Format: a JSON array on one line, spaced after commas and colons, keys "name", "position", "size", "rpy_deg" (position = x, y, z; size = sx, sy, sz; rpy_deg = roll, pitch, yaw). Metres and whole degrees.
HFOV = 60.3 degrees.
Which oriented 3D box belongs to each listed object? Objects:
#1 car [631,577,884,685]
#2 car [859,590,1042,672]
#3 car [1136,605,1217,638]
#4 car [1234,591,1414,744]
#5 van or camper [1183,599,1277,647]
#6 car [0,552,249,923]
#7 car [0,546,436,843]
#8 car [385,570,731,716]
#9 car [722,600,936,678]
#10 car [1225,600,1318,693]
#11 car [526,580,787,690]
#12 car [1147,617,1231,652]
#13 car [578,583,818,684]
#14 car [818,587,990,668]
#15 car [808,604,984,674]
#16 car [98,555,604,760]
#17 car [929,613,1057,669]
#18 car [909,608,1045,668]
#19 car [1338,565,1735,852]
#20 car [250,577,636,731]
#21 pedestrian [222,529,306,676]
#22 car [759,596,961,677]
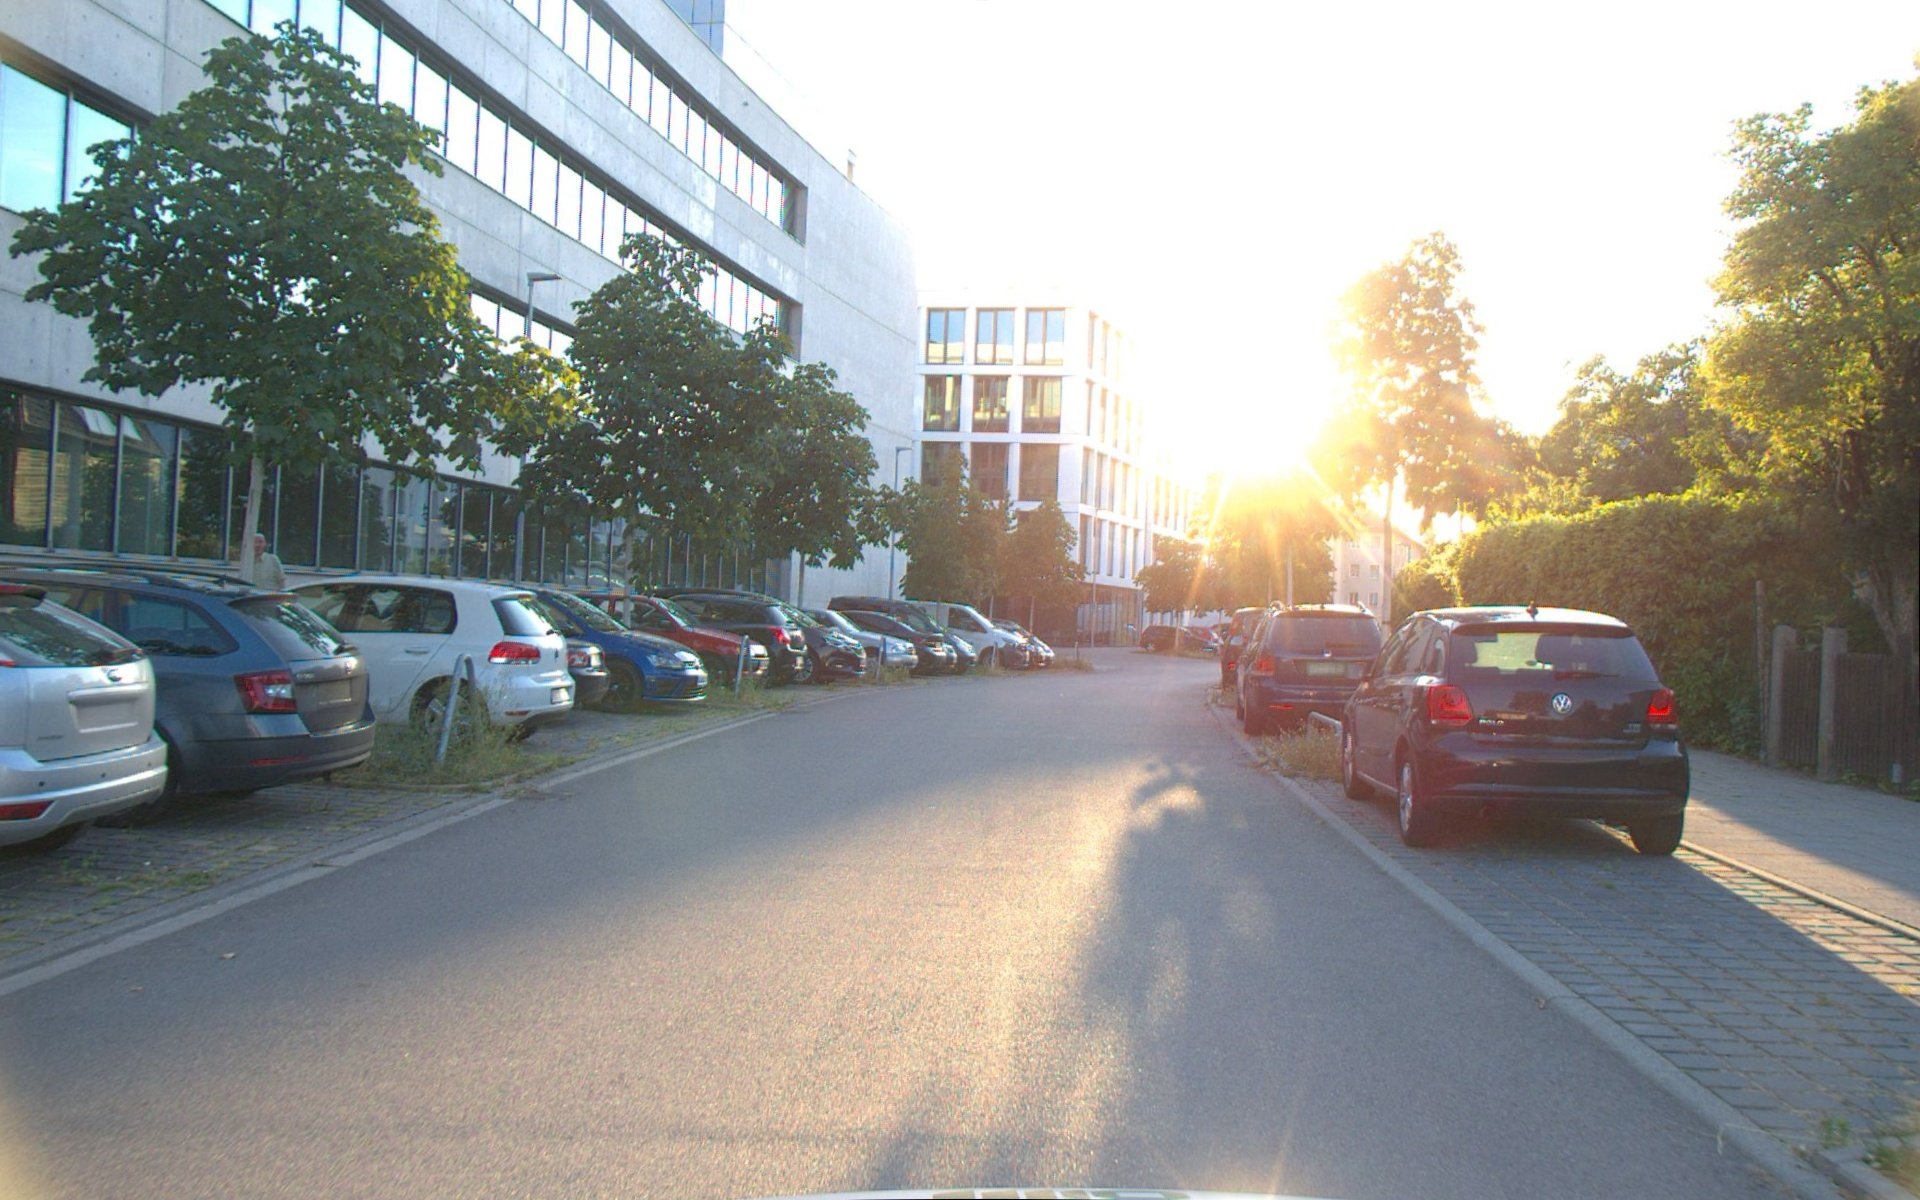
[{"name": "car", "position": [-3.701, 0.564, 30.647], "size": [4.217, 1.726, 1.898], "rpy_deg": [3, -1, 8]}, {"name": "car", "position": [-0.261, 0.908, 48.523], "size": [4.969, 1.980, 1.890], "rpy_deg": [4, -1, 12]}, {"name": "car", "position": [11.651, 1.180, 89.093], "size": [3.967, 1.504, 1.768], "rpy_deg": [3, 0, 20]}, {"name": "car", "position": [4.235, 0.717, 19.830], "size": [1.674, 1.577, 4.552], "rpy_deg": [1, 0, 7]}, {"name": "van or camper", "position": [16.428, 1.383, 100.606], "size": [5.340, 2.527, 1.775], "rpy_deg": [3, 1, 20]}, {"name": "car", "position": [-5.854, 0.475, 7.929], "size": [4.003, 1.555, 1.846], "rpy_deg": [4, 0, -1]}, {"name": "car", "position": [-5.500, 0.487, 10.247], "size": [3.917, 1.538, 1.585], "rpy_deg": [4, 1, -1]}, {"name": "car", "position": [-4.992, 0.514, 20.821], "size": [3.788, 1.537, 1.761], "rpy_deg": [3, 0, 6]}, {"name": "car", "position": [-2.863, 0.825, 36.478], "size": [4.339, 1.489, 1.764], "rpy_deg": [2, 0, 11]}, {"name": "car", "position": [5.617, 0.825, 29.876], "size": [1.543, 1.536, 3.499], "rpy_deg": [1, -1, 10]}, {"name": "car", "position": [-4.716, 0.543, 25.957], "size": [3.624, 1.483, 1.712], "rpy_deg": [3, -1, 6]}, {"name": "car", "position": [11.685, 1.749, 84.292], "size": [3.965, 1.504, 1.768], "rpy_deg": [3, 1, 17]}, {"name": "car", "position": [-4.391, 0.555, 27.984], "size": [3.623, 1.483, 1.680], "rpy_deg": [3, -1, 8]}, {"name": "car", "position": [-1.467, 0.724, 43.787], "size": [4.157, 1.772, 1.726], "rpy_deg": [4, -1, 11]}, {"name": "car", "position": [-1.596, 0.978, 41.860], "size": [4.056, 1.428, 1.726], "rpy_deg": [4, -1, 11]}, {"name": "car", "position": [-5.477, 0.491, 15.196], "size": [3.904, 1.537, 1.761], "rpy_deg": [3, 0, 3]}, {"name": "car", "position": [1.080, 1.330, 53.787], "size": [3.804, 1.514, 1.652], "rpy_deg": [4, 0, 13]}, {"name": "car", "position": [0.550, 1.186, 51.560], "size": [3.903, 1.548, 1.607], "rpy_deg": [4, -1, 11]}, {"name": "car", "position": [3.694, 0.613, 11.243], "size": [1.703, 1.579, 3.642], "rpy_deg": [1, 0, 6]}, {"name": "car", "position": [-5.485, 0.553, 17.851], "size": [3.558, 1.385, 1.686], "rpy_deg": [3, 0, 0]}, {"name": "pedestrian", "position": [-8.925, 0.035, 21.227], "size": [0.632, 1.815, 0.725], "rpy_deg": [3, -1, 5]}, {"name": "car", "position": [-2.340, 0.854, 38.920], "size": [4.305, 1.525, 1.764], "rpy_deg": [4, -1, 15]}]
